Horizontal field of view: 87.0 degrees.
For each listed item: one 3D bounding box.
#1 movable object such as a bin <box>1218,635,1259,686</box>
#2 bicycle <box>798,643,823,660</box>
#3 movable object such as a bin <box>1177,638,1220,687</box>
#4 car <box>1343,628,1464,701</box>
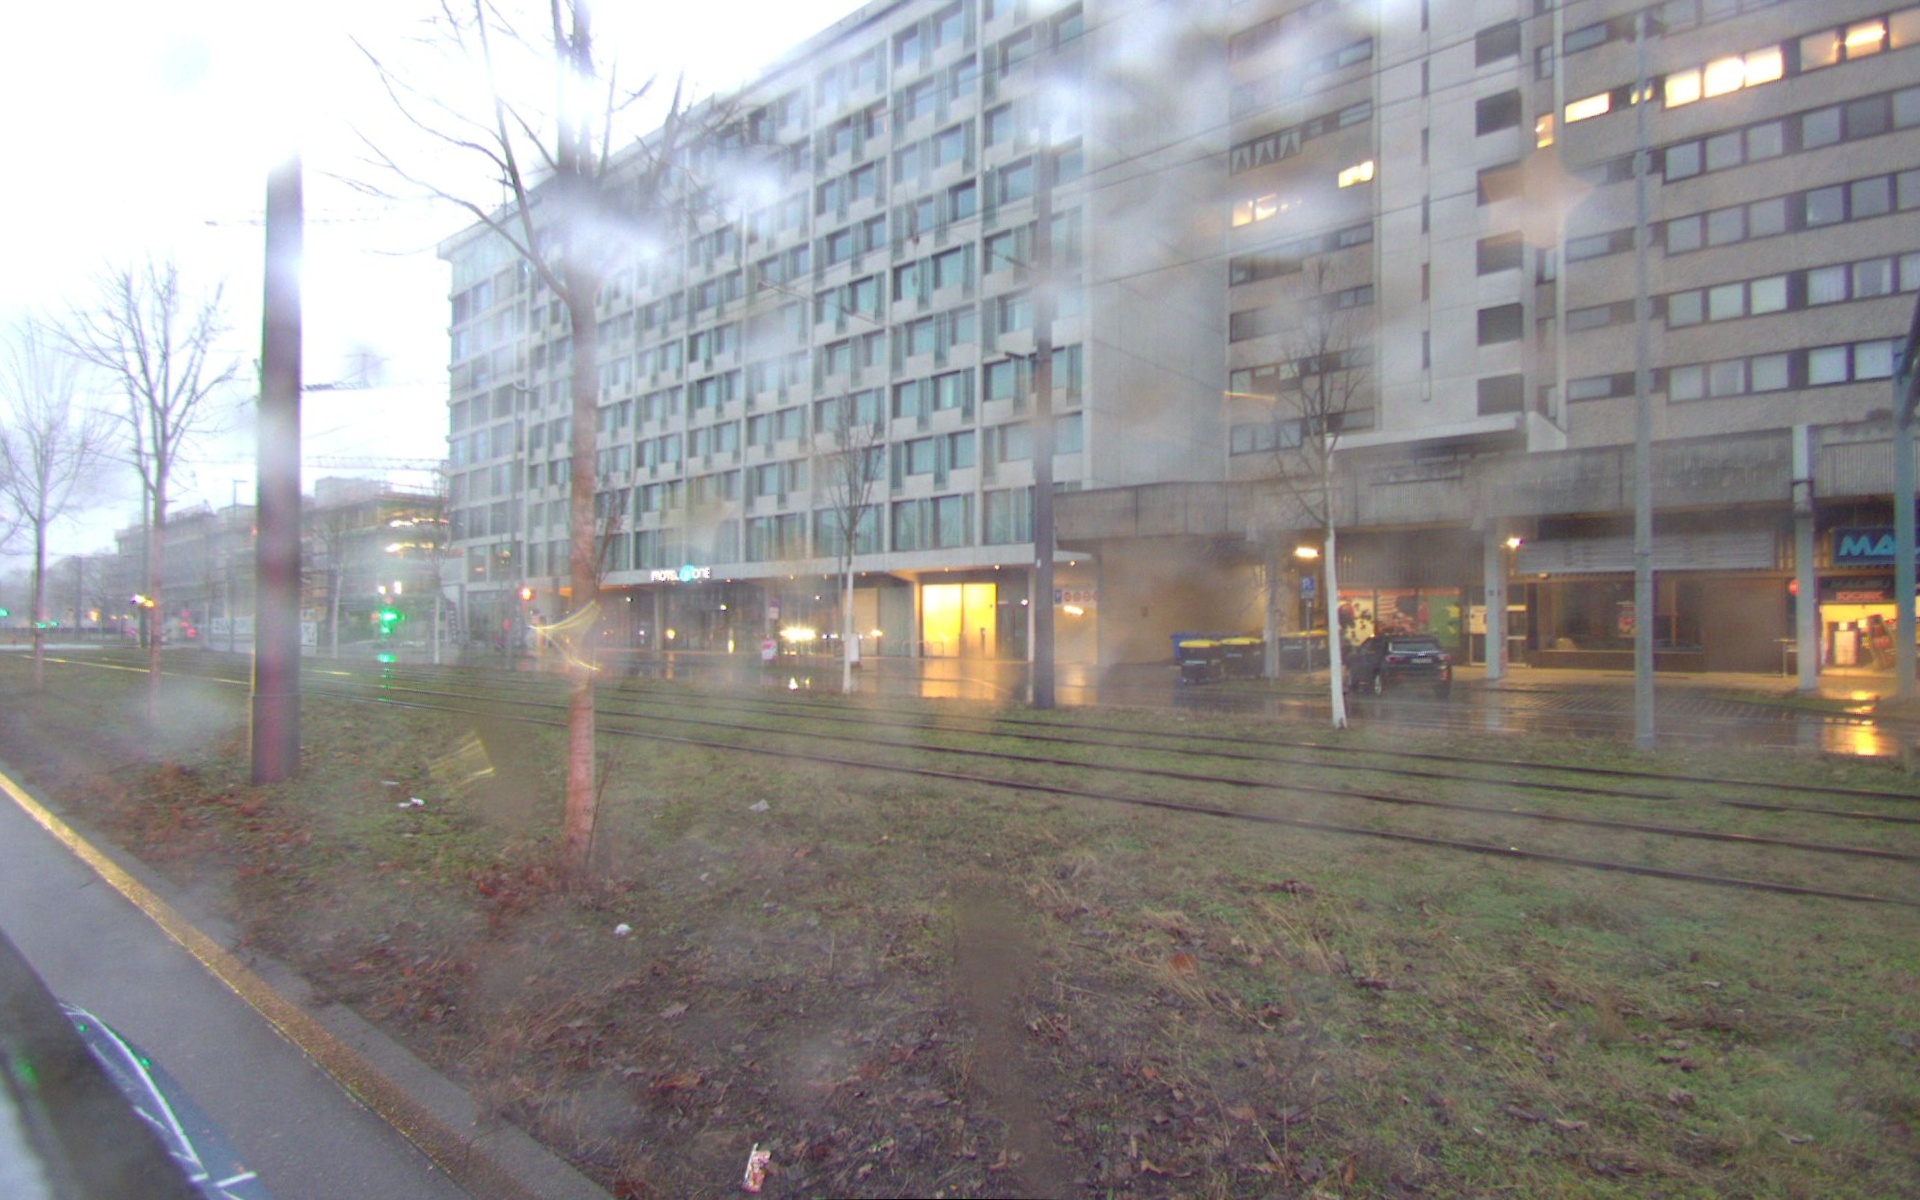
[{"bbox_3d":[8.685,1.868,31.548,1.008,1.512,1.042,-1,0,30],"label":"movable object such as a bin"},{"bbox_3d":[-7.841,2.696,53.184,0.465,0.860,1.332,-1,0,39],"label":"bicycle"},{"bbox_3d":[7.331,1.895,31.095,1.027,1.437,1.063,-1,0,30],"label":"movable object such as a bin"},{"bbox_3d":[11.965,1.693,27.585,1.962,1.706,4.131,-1,0,9],"label":"car"}]
